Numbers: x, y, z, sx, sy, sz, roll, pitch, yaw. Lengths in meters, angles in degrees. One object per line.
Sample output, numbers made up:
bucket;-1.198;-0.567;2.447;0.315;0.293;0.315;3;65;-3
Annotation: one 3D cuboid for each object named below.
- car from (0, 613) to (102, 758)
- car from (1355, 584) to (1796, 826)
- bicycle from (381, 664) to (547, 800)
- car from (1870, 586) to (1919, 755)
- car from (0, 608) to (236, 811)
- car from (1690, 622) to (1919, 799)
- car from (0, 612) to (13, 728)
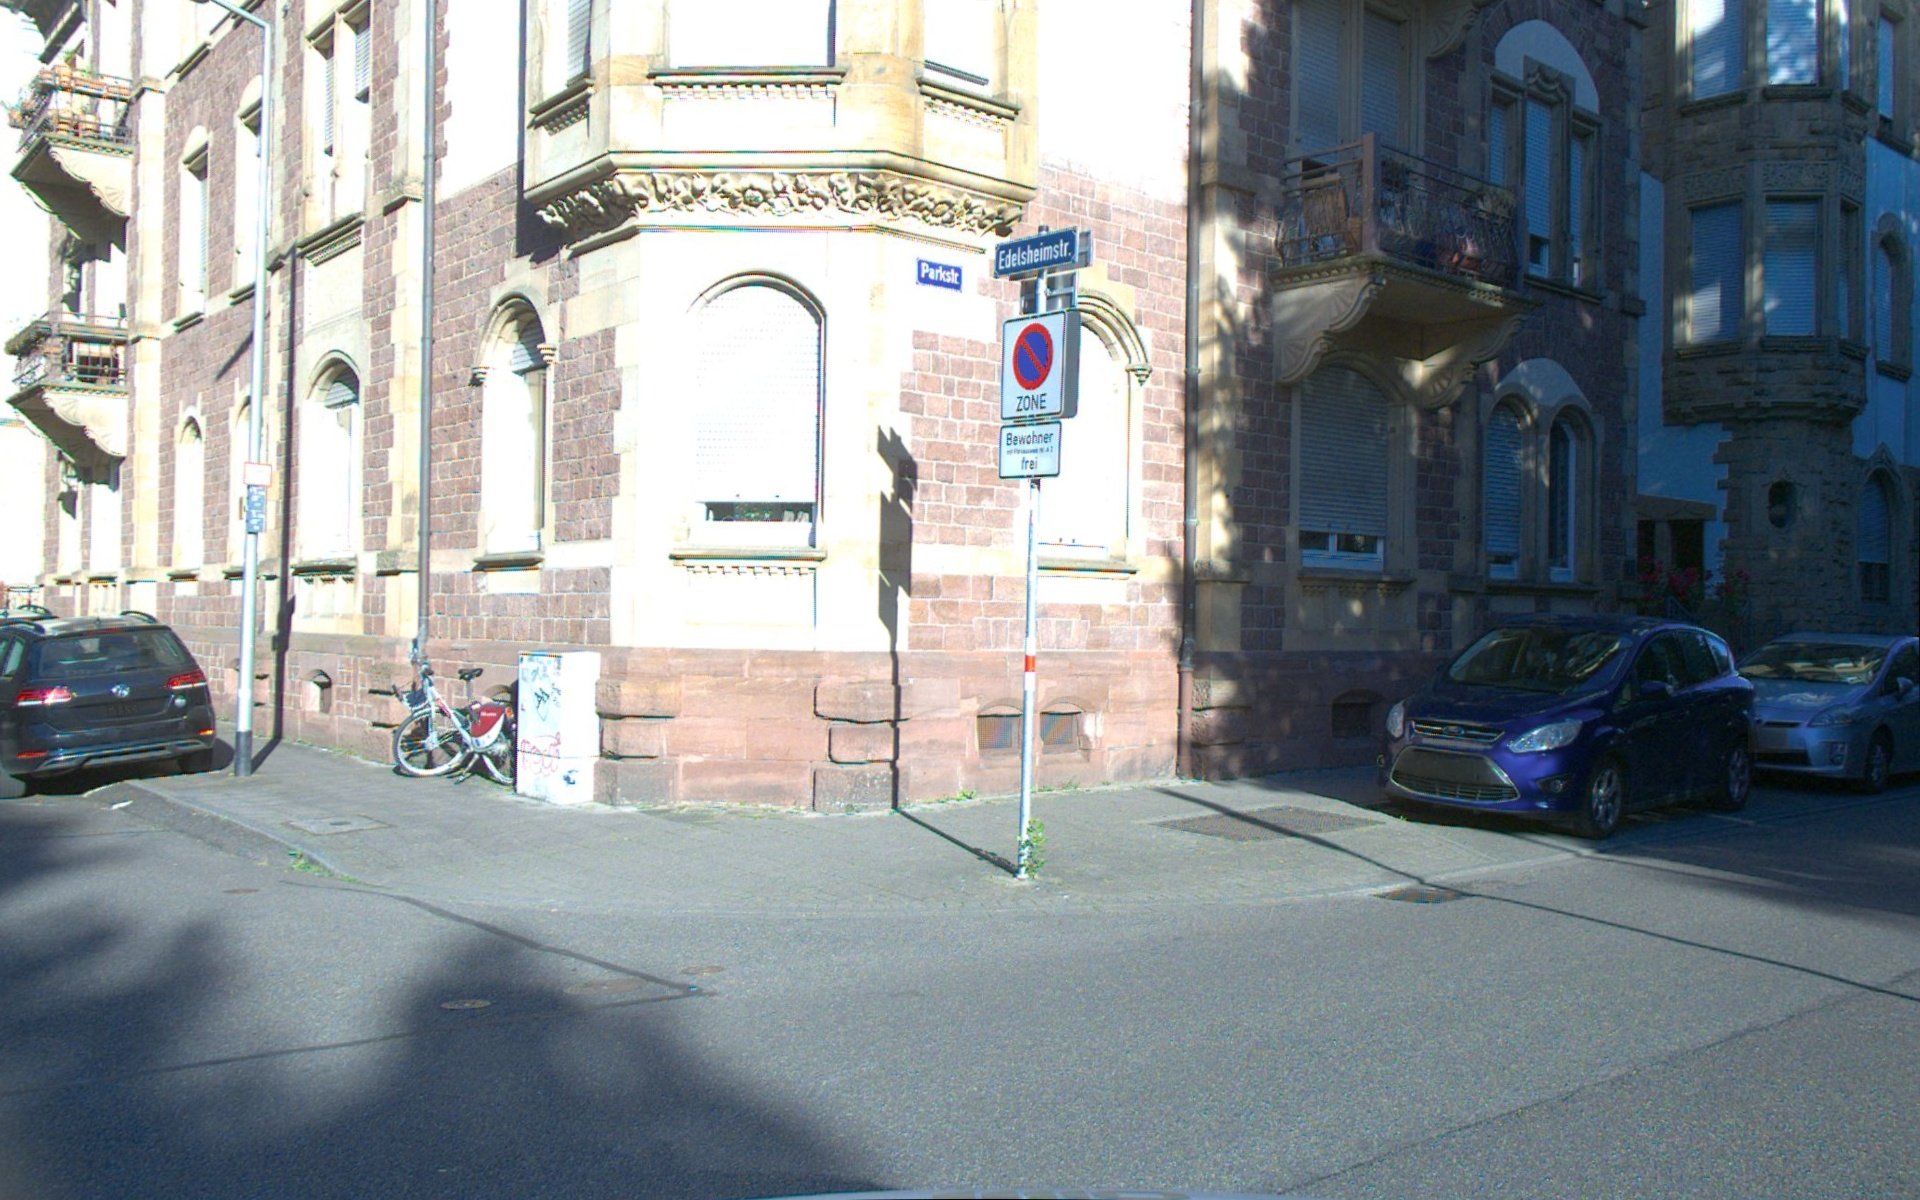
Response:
car;-11.814;0.959;20.038;1.726;1.609;3.944;3;-2;-39
car;5.177;0.810;13.613;4.225;1.650;1.707;3;-1;-44
bicycle;-4.116;1.062;13.675;1.546;1.015;0.513;1;-2;39
car;13.376;0.898;20.990;4.462;2.008;1.944;1;0;-44
car;-8.158;0.902;15.230;1.726;1.609;3.944;3;-2;-39
car;9.291;1.035;16.994;4.420;1.525;1.707;1;0;-44
car;-15.078;0.937;23.961;1.726;1.609;3.944;3;-2;-39
